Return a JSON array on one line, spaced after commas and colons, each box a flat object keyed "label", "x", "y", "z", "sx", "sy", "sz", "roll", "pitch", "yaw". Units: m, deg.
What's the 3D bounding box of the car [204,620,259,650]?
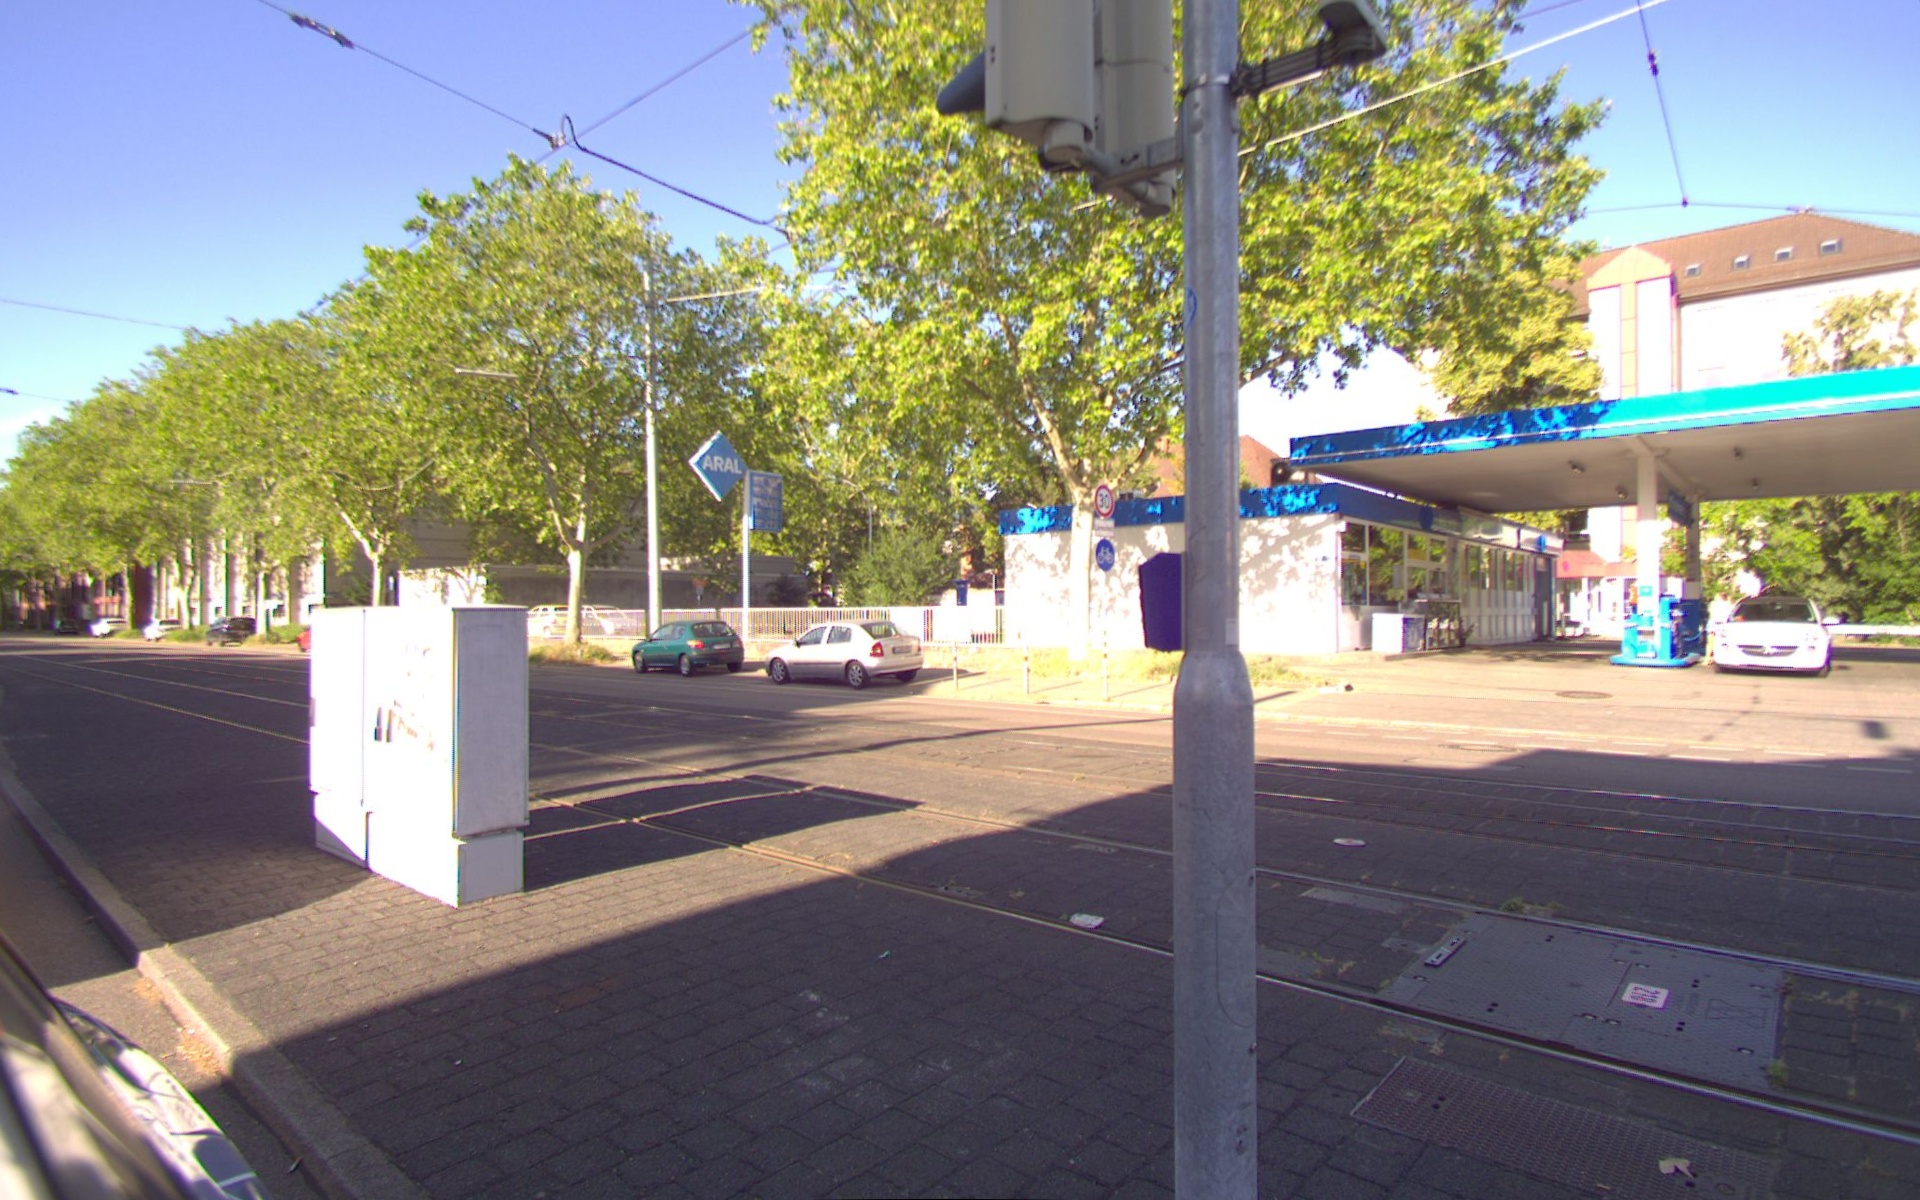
[{"label": "car", "x": -40.678, "y": 1.950, "z": 56.486, "sx": 3.858, "sy": 1.557, "sz": 1.735, "roll": -1, "pitch": 0, "yaw": 43}]

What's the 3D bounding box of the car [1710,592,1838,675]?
[{"label": "car", "x": 15.938, "y": 0.613, "z": 19.783, "sx": 1.793, "sy": 1.453, "sz": 3.946, "roll": -1, "pitch": -1, "yaw": 40}]

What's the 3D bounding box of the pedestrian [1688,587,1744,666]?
[{"label": "pedestrian", "x": 16.096, "y": 0.554, "z": 21.548, "sx": 0.637, "sy": 1.642, "sz": 0.814, "roll": 1, "pitch": -2, "yaw": -42}]

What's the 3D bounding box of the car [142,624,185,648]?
[{"label": "car", "x": -53.641, "y": 2.392, "z": 68.122, "sx": 3.858, "sy": 1.495, "sz": 1.735, "roll": -1, "pitch": 0, "yaw": 43}]

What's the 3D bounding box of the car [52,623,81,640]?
[{"label": "car", "x": -84.876, "y": 3.003, "z": 96.117, "sx": 3.858, "sy": 1.495, "sz": 1.735, "roll": -1, "pitch": 0, "yaw": 43}]

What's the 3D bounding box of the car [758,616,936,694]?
[{"label": "car", "x": -2.576, "y": 1.164, "z": 22.597, "sx": 3.857, "sy": 1.497, "sz": 1.823, "roll": -1, "pitch": 1, "yaw": 42}]

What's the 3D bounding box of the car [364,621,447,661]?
[{"label": "car", "x": -21.987, "y": 1.584, "z": 40.092, "sx": 3.858, "sy": 1.468, "sz": 1.735, "roll": -1, "pitch": 0, "yaw": 43}]

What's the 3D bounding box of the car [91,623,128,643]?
[{"label": "car", "x": -66.929, "y": 2.571, "z": 79.642, "sx": 3.858, "sy": 1.495, "sz": 1.735, "roll": -1, "pitch": 0, "yaw": 43}]

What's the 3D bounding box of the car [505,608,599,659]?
[{"label": "car", "x": -17.047, "y": 1.390, "z": 42.263, "sx": 3.996, "sy": 2.029, "sz": 1.974, "roll": -1, "pitch": -1, "yaw": 39}]

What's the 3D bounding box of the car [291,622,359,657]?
[{"label": "car", "x": -28.915, "y": 1.769, "z": 46.046, "sx": 3.858, "sy": 1.440, "sz": 1.695, "roll": -1, "pitch": 0, "yaw": 43}]

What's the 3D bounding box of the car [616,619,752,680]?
[{"label": "car", "x": -7.436, "y": 1.271, "z": 27.077, "sx": 3.858, "sy": 1.408, "sz": 1.722, "roll": -1, "pitch": 1, "yaw": 43}]

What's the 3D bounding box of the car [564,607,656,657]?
[{"label": "car", "x": -15.148, "y": 1.360, "z": 43.691, "sx": 3.996, "sy": 2.029, "sz": 1.974, "roll": -1, "pitch": -1, "yaw": 39}]
